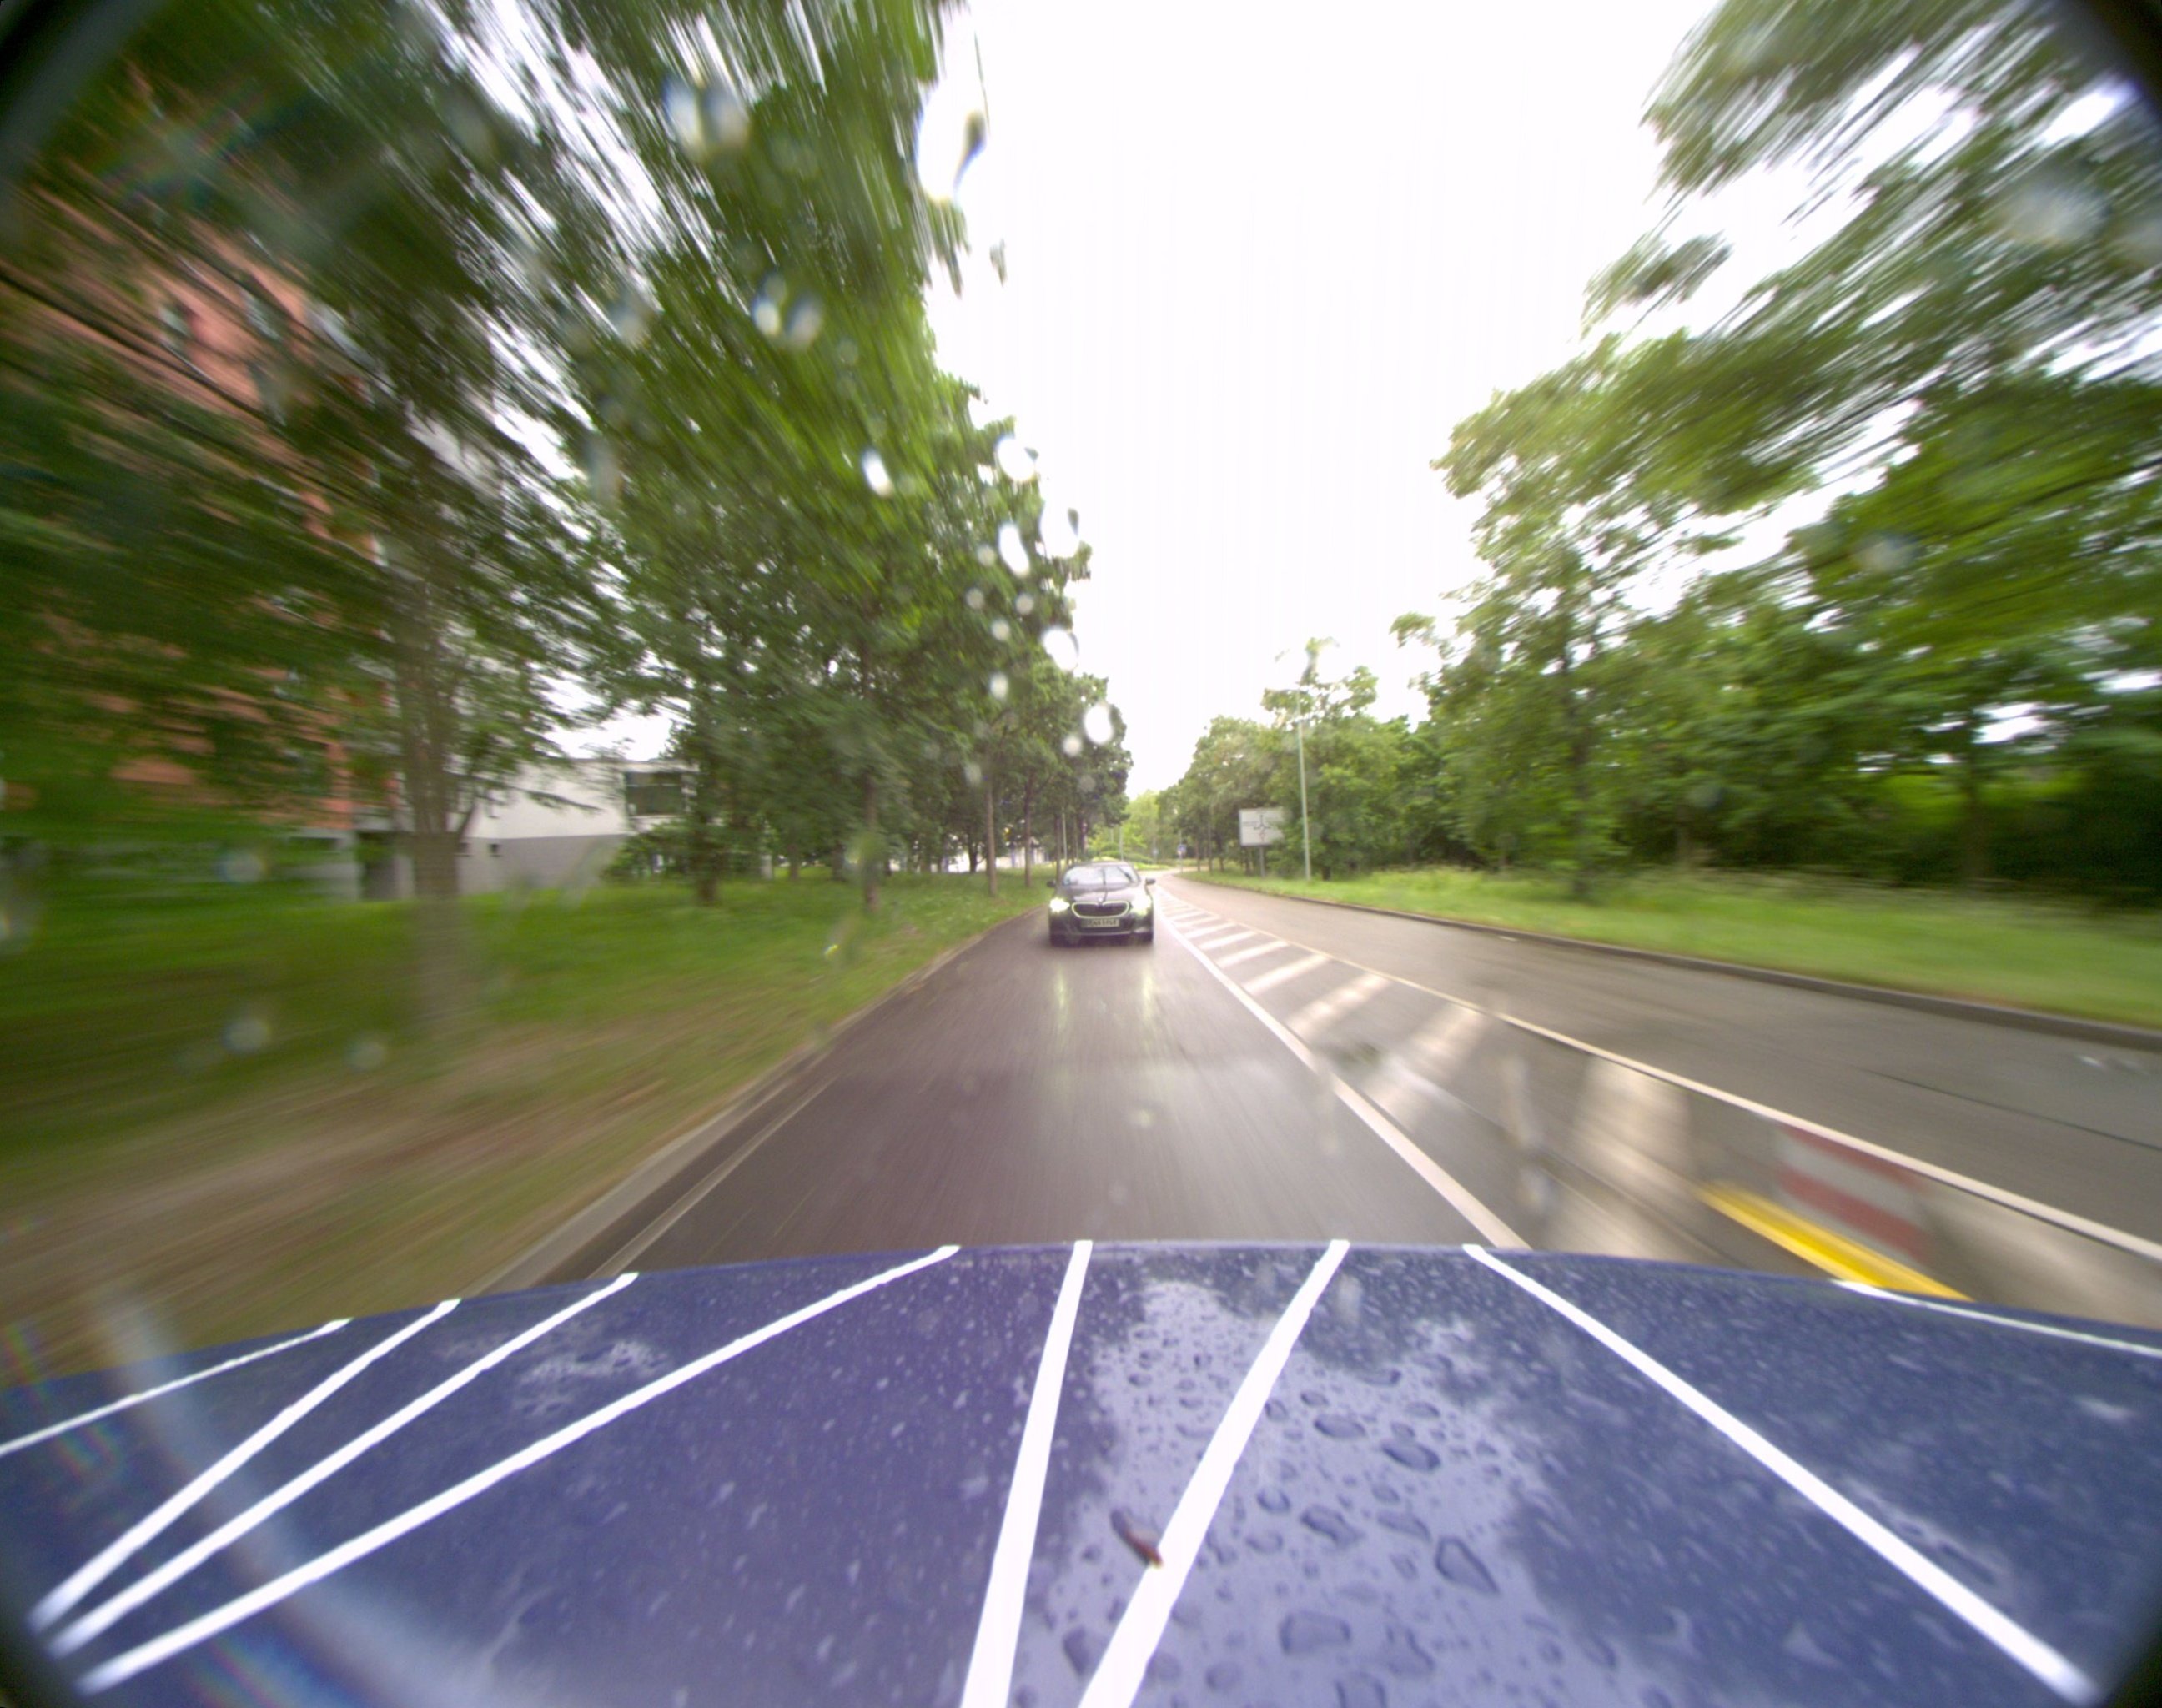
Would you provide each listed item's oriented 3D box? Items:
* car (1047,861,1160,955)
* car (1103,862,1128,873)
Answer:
[{"bbox_3d":[0.522,0.931,14.824,1.844,1.471,4.001,-3,0,4],"label":"car"},{"bbox_3d":[4.479,1.727,98.671,3.052,1.293,1.504,-2,-1,-2],"label":"car"}]
